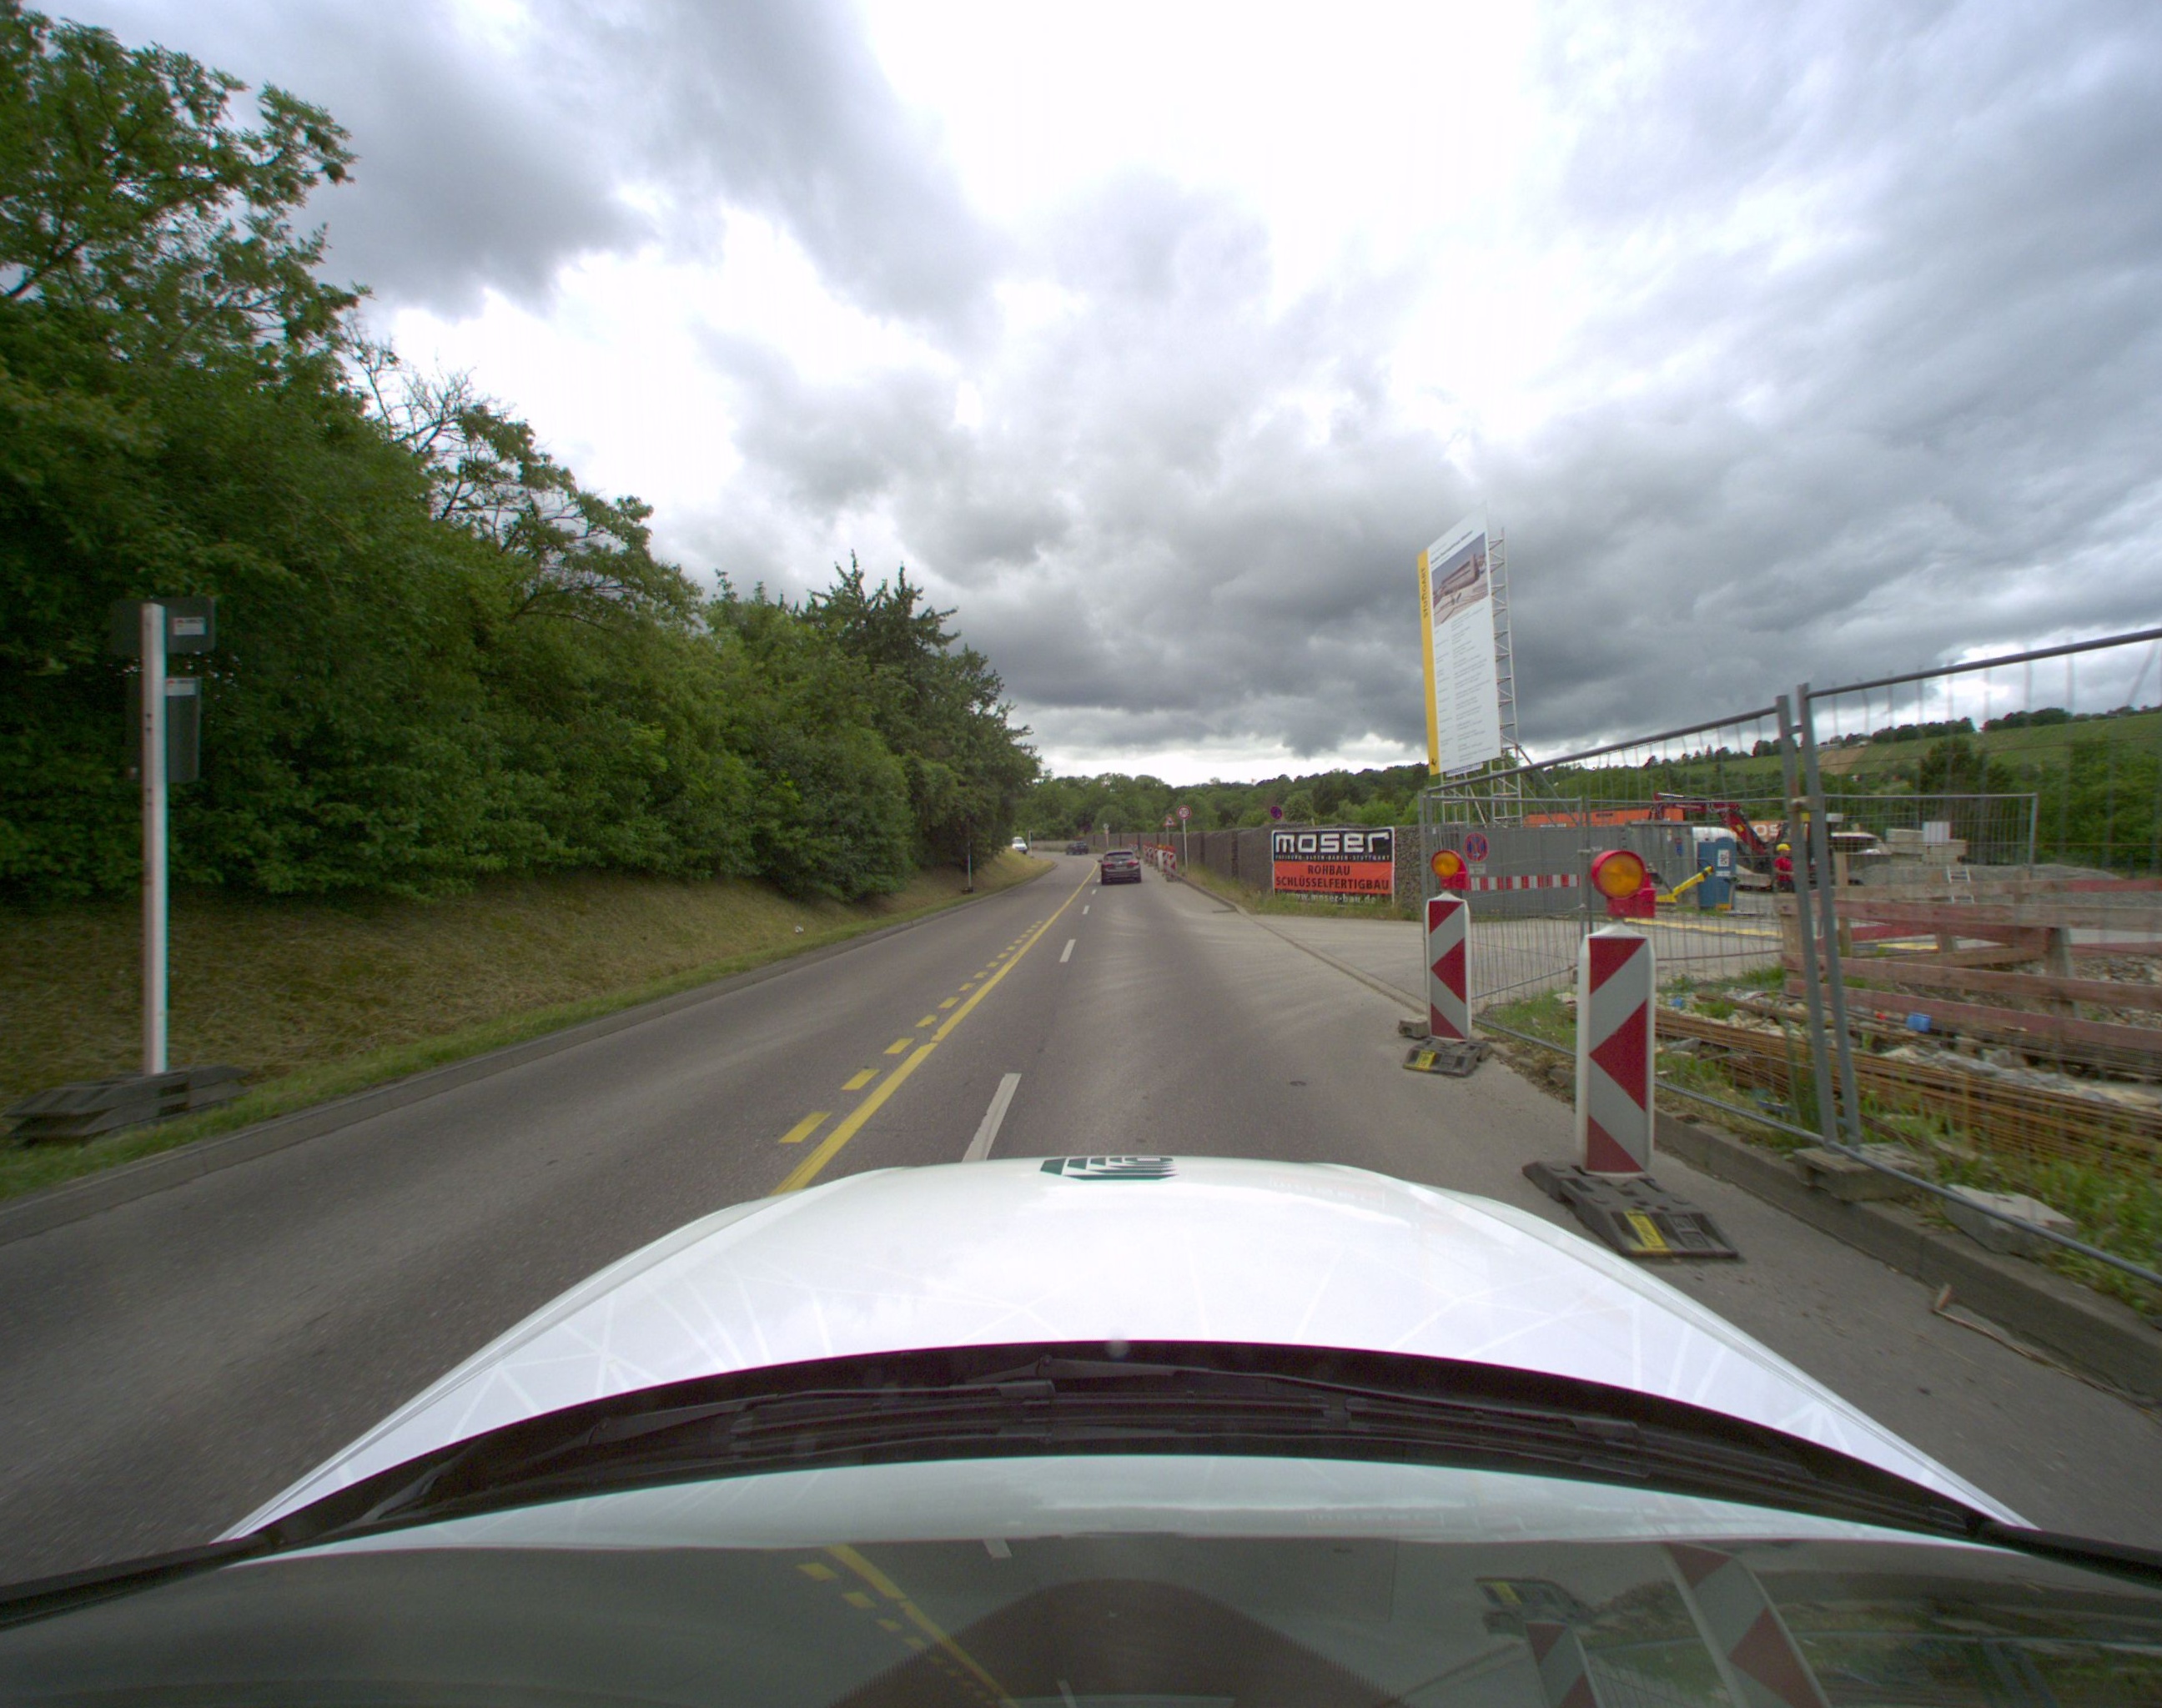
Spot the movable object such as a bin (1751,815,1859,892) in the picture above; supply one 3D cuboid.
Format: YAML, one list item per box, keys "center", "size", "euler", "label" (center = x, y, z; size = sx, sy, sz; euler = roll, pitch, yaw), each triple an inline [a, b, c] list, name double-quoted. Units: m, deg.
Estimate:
- center: [25.444, 0.018, 28.684]
  size: [2.708, 2.585, 2.012]
  euler: [-1, -2, 42]
  label: "movable object such as a bin"

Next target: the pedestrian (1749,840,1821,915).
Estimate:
- center: [18.348, 0.611, 21.254]
  size: [0.824, 1.901, 1.152]
  euler: [0, -1, -9]
  label: "pedestrian"

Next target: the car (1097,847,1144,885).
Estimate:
- center: [1.744, 0.508, 37.198]
  size: [1.834, 1.483, 3.999]
  euler: [-4, 1, 0]
  label: "car"

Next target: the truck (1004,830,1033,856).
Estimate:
- center: [-7.964, -1.372, 102.666]
  size: [2.219, 3.014, 7.700]
  euler: [-3, 1, -15]
  label: "truck"

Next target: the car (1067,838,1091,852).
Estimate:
- center: [-0.251, -0.943, 91.527]
  size: [1.783, 1.453, 3.836]
  euler: [0, -1, -17]
  label: "car"
